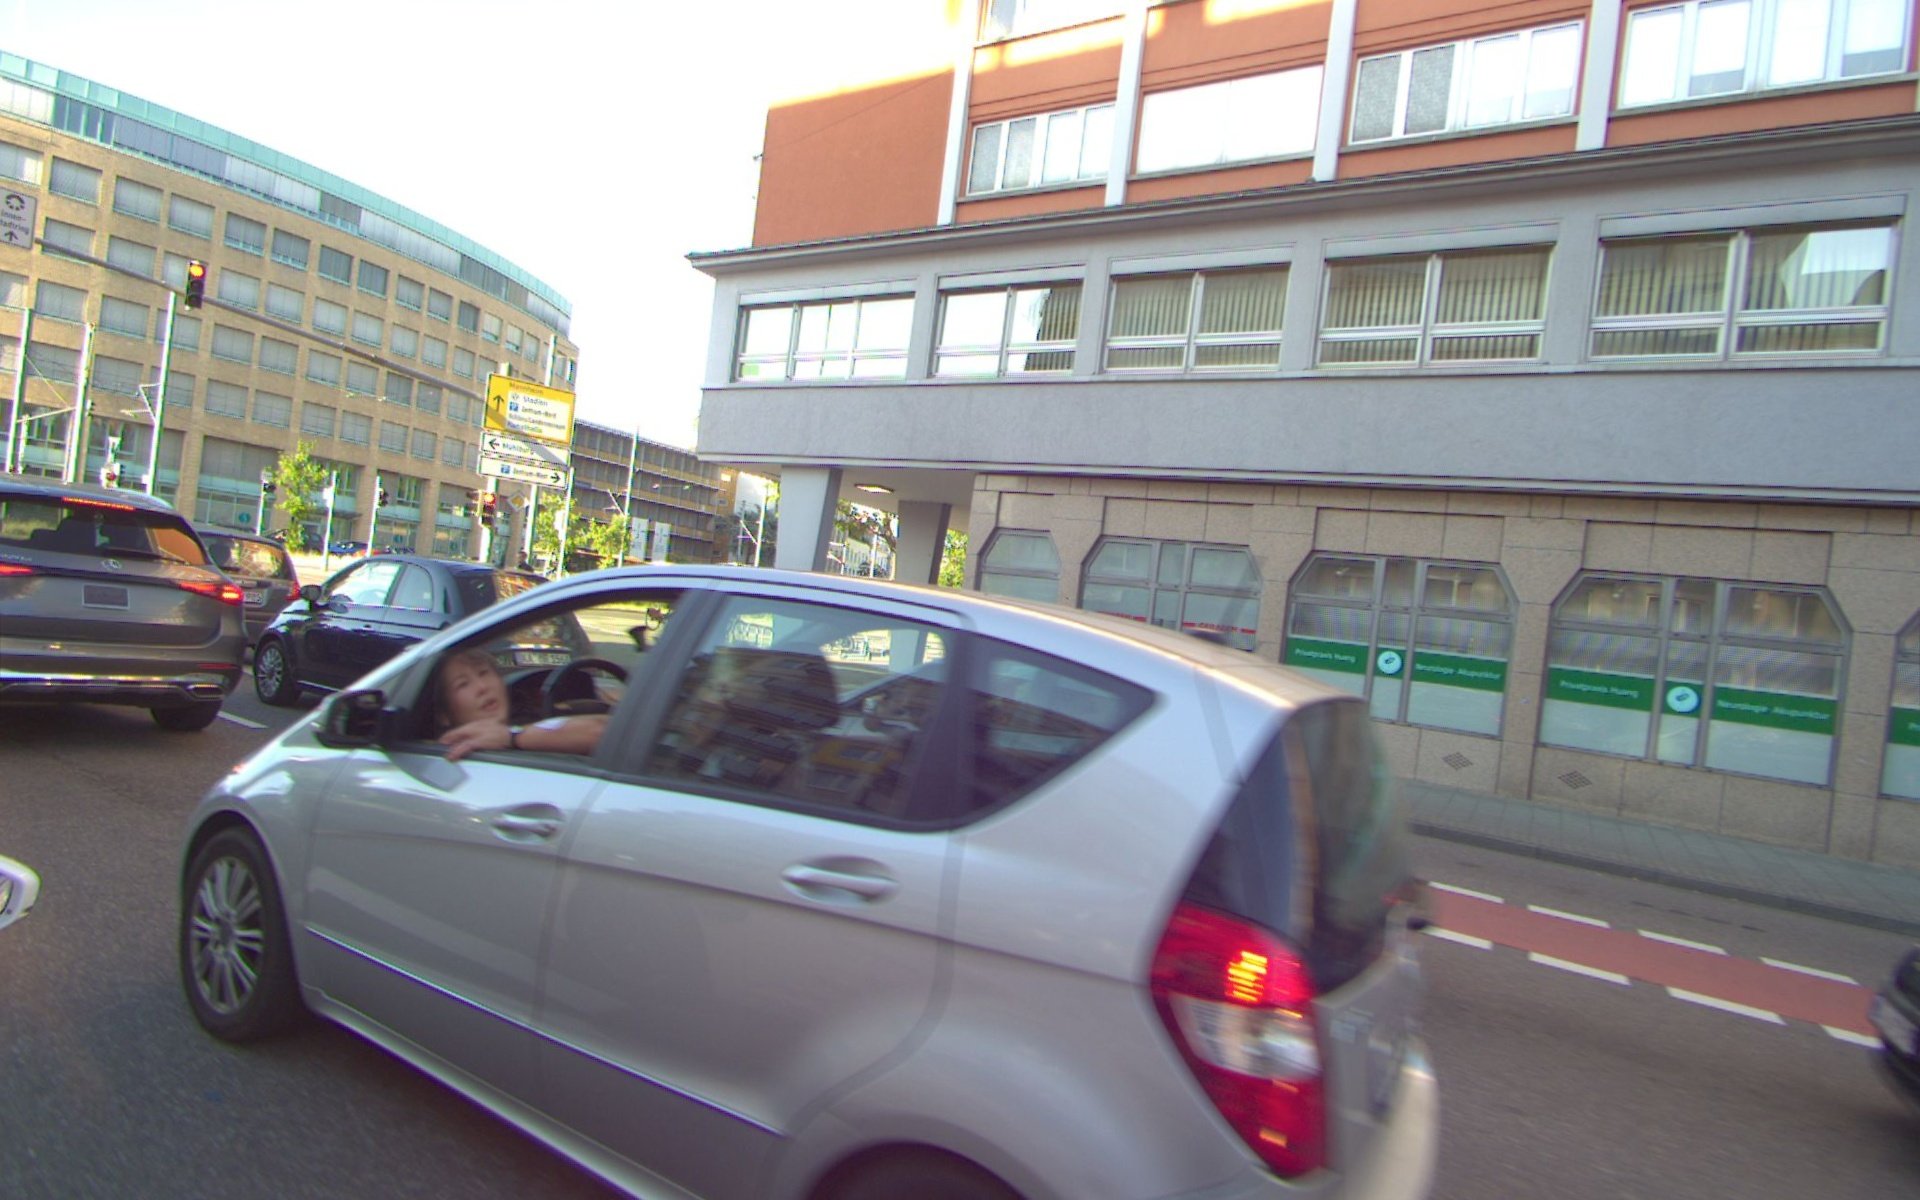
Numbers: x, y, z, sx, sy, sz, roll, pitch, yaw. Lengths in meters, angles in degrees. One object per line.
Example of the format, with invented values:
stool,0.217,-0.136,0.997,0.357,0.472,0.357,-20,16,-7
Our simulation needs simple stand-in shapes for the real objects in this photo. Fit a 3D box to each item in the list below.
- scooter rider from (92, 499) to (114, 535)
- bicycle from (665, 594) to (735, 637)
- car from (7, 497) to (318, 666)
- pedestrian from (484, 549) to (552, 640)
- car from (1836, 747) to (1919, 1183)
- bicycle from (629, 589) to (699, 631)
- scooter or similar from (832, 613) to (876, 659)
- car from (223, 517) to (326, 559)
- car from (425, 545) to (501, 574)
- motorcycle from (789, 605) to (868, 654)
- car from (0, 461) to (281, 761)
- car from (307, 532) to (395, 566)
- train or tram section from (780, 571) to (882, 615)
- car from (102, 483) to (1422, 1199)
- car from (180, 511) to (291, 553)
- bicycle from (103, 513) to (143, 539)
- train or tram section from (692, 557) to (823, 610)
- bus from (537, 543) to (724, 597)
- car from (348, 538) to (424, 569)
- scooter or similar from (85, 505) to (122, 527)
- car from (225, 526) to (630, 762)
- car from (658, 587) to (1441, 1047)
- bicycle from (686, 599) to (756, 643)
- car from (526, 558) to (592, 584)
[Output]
scooter rider,-46.601,-4.527,54.719,0.468,1.836,0.679,7,1,38
bicycle,-8.010,0.490,31.075,0.730,1.130,2.089,7,0,30
car,-9.315,-0.240,11.699,3.587,1.463,1.588,7,-2,32
pedestrian,-9.315,-0.102,21.210,0.659,1.790,0.944,7,0,36
car,5.369,1.544,2.769,4.089,1.475,1.710,7,0,32
bicycle,-9.344,0.329,31.801,0.730,1.130,2.089,7,0,30
scooter or similar,-3.150,1.086,29.889,1.130,1.260,0.424,6,1,-38
car,-38.294,-3.436,56.271,1.968,1.634,4.233,7,-1,33
car,-32.697,-2.657,66.307,1.966,1.362,3.994,7,-1,30
motorcycle,-4.226,0.943,32.298,2.362,1.256,0.855,7,0,29
car,-6.916,-0.122,7.041,4.403,1.652,1.787,7,0,31
car,-38.004,-3.157,62.884,1.966,1.520,4.238,7,-1,29
train or tram section,-13.181,-0.560,106.585,3.629,3.215,19.973,7,-1,13
car,-0.700,0.666,3.095,3.557,1.587,1.806,7,0,31
car,-41.385,-3.847,57.571,1.966,1.617,4.656,7,-1,29
bicycle,-45.456,-4.013,54.671,0.468,1.187,1.519,7,0,38
train or tram section,-17.411,-1.274,88.939,3.630,3.215,17.168,7,-1,16
bus,-26.598,-2.257,83.305,2.380,2.466,18.213,7,-1,27
car,-35.119,-2.832,61.602,1.693,1.358,3.613,7,-1,32
scooter or similar,-46.591,-4.567,54.726,0.468,1.014,1.400,7,0,38
car,-4.758,0.318,8.903,3.420,1.524,1.491,7,0,31
car,0.379,0.956,5.934,4.169,1.502,1.653,7,-1,32
bicycle,-7.177,0.648,30.325,0.730,1.130,2.089,7,0,30
car,-29.019,-2.074,72.825,1.966,1.362,3.994,7,-1,30
